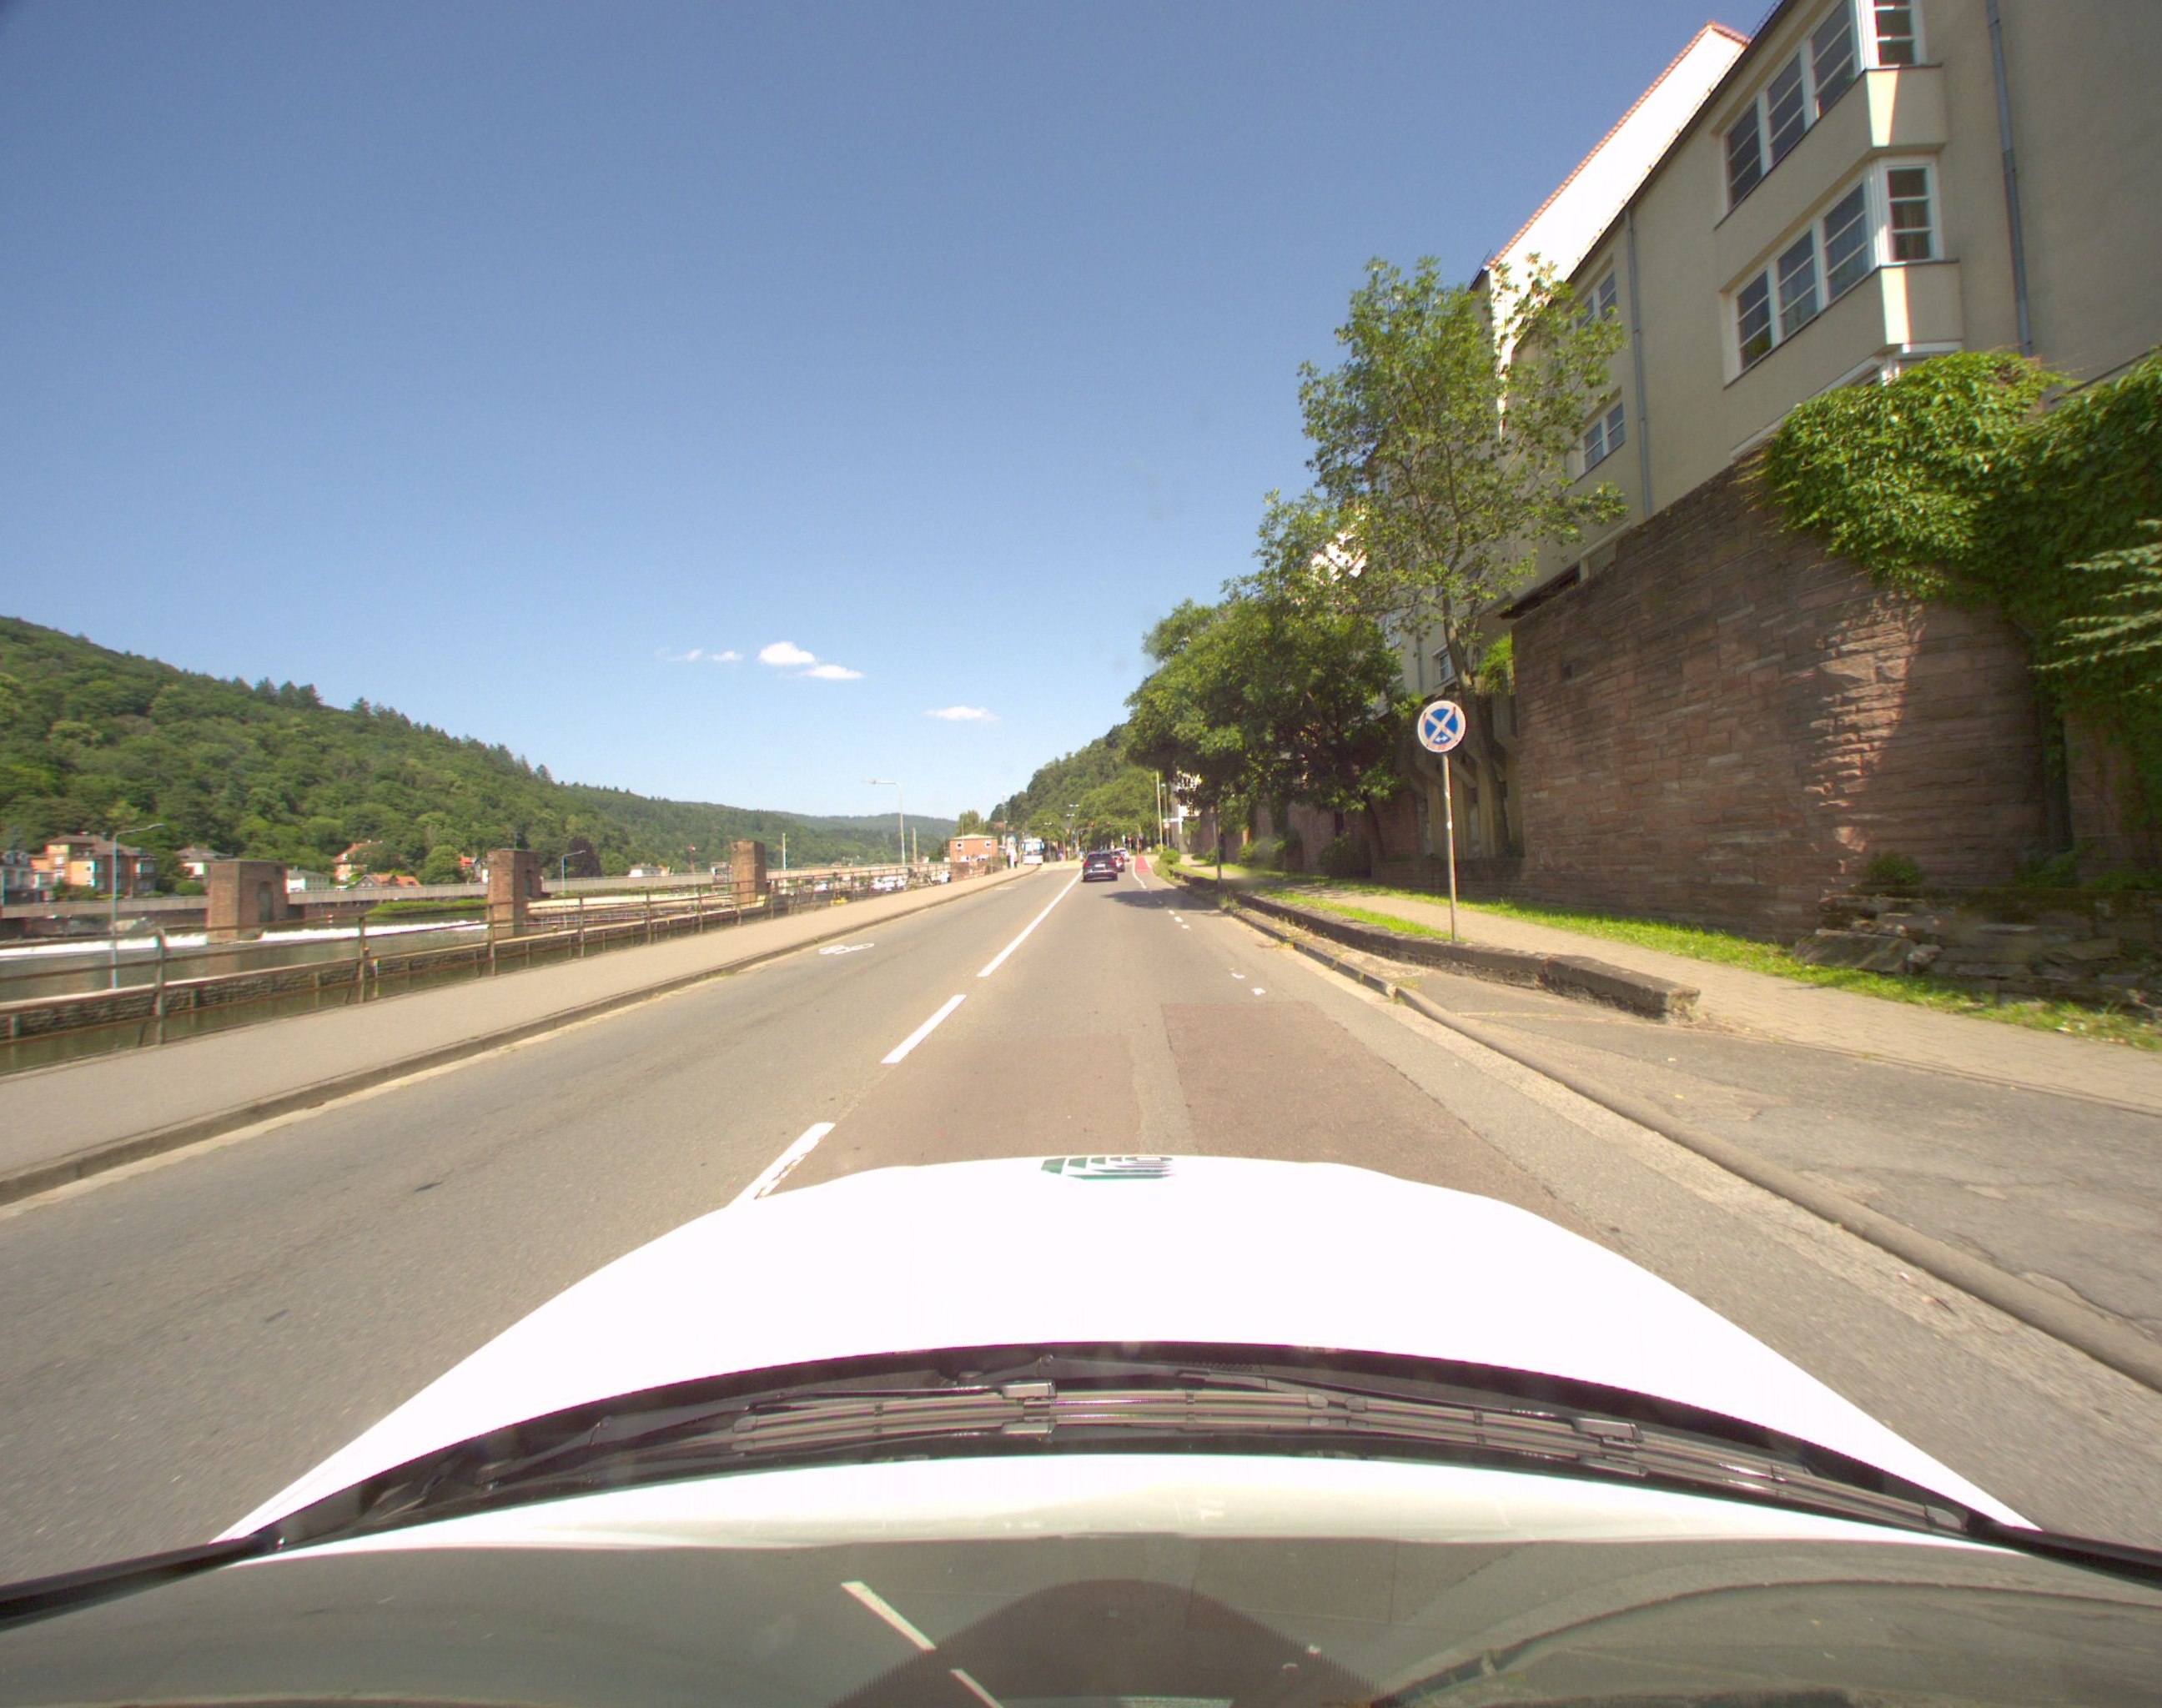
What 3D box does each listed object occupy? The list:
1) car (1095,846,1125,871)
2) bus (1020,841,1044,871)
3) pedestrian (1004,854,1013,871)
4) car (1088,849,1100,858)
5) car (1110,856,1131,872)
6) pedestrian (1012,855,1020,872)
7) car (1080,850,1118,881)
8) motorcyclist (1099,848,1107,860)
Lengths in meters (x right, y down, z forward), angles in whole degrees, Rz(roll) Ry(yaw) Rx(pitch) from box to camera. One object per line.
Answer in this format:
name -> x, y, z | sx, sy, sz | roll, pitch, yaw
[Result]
car -> 1.963, 0.291, 55.551 | 1.881, 1.521, 4.307 | -3, 0, 2
bus -> -6.840, 0.336, 114.774 | 2.950, 3.800, 13.226 | -4, 0, -3
pedestrian -> -7.219, 0.851, 81.414 | 0.680, 1.709, 0.773 | -4, -1, 1
car -> 2.301, -0.042, 140.167 | 1.861, 1.358, 3.998 | -5, 0, -1
car -> 3.877, 0.959, 81.293 | 1.986, 1.533, 4.860 | 0, 0, 2
pedestrian -> -6.661, 0.984, 83.638 | 0.700, 1.621, 0.816 | -4, -1, -1
car -> 0.965, 0.566, 42.763 | 1.862, 1.514, 4.152 | -1, 0, 2
motorcyclist -> 3.342, 0.002, 125.036 | 1.072, 1.684, 1.156 | -5, 0, 1
